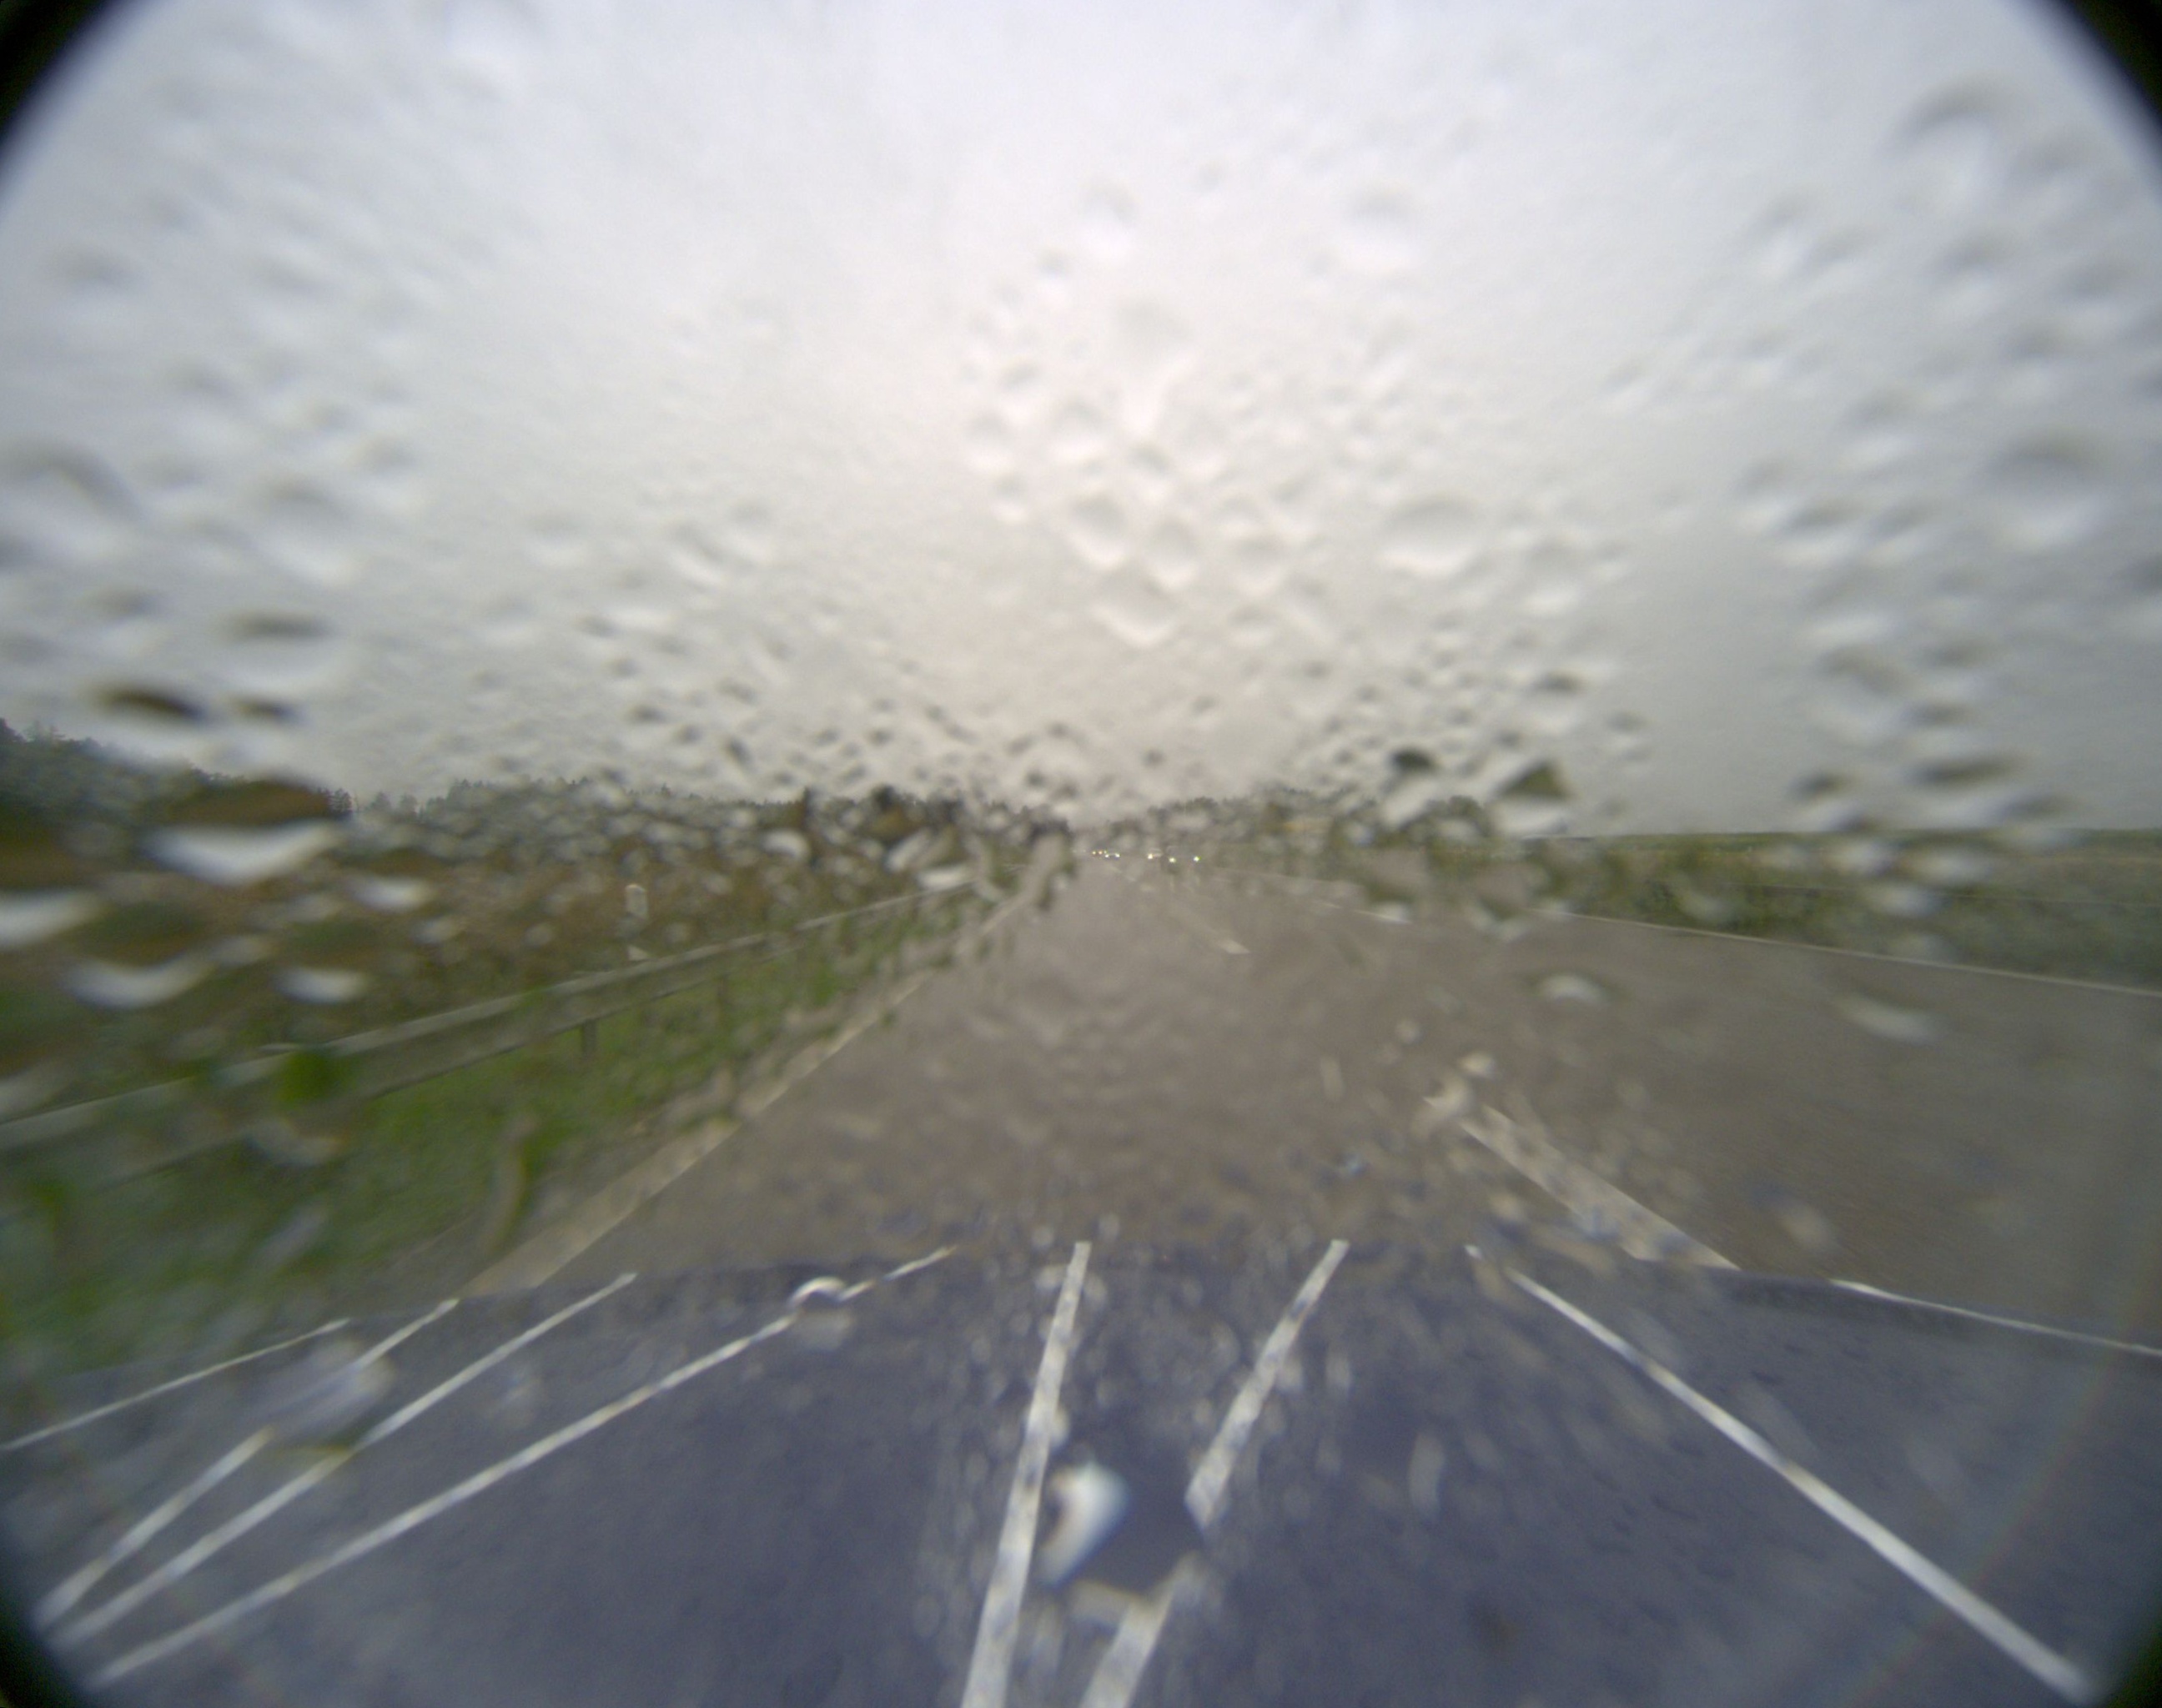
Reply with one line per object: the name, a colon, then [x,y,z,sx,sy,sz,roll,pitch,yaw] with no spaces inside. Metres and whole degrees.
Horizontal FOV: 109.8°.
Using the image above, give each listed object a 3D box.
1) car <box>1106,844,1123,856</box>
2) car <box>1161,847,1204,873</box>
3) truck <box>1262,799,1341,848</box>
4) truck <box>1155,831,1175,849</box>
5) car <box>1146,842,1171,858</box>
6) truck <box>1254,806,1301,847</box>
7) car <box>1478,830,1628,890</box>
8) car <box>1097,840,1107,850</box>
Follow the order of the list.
car: [4.591,-0.573,103.568,2.151,1.627,4.594,0,1,1]
car: [6.231,0.335,47.228,2.099,1.445,4.594,0,1,1]
truck: [20.665,-2.710,72.610,3.202,3.944,15.316,-3,1,1]
truck: [20.241,-3.418,183.571,3.202,3.944,13.811,-3,1,1]
car: [8.182,-0.406,80.610,2.151,1.627,4.594,0,1,1]
truck: [20.786,-2.825,80.700,3.202,3.944,6.662,-3,1,1]
car: [16.160,0.169,26.389,2.110,1.865,4.869,-1,1,-1]
car: [4.556,-2.014,166.036,1.998,2.001,4.642,1,-1,3]
